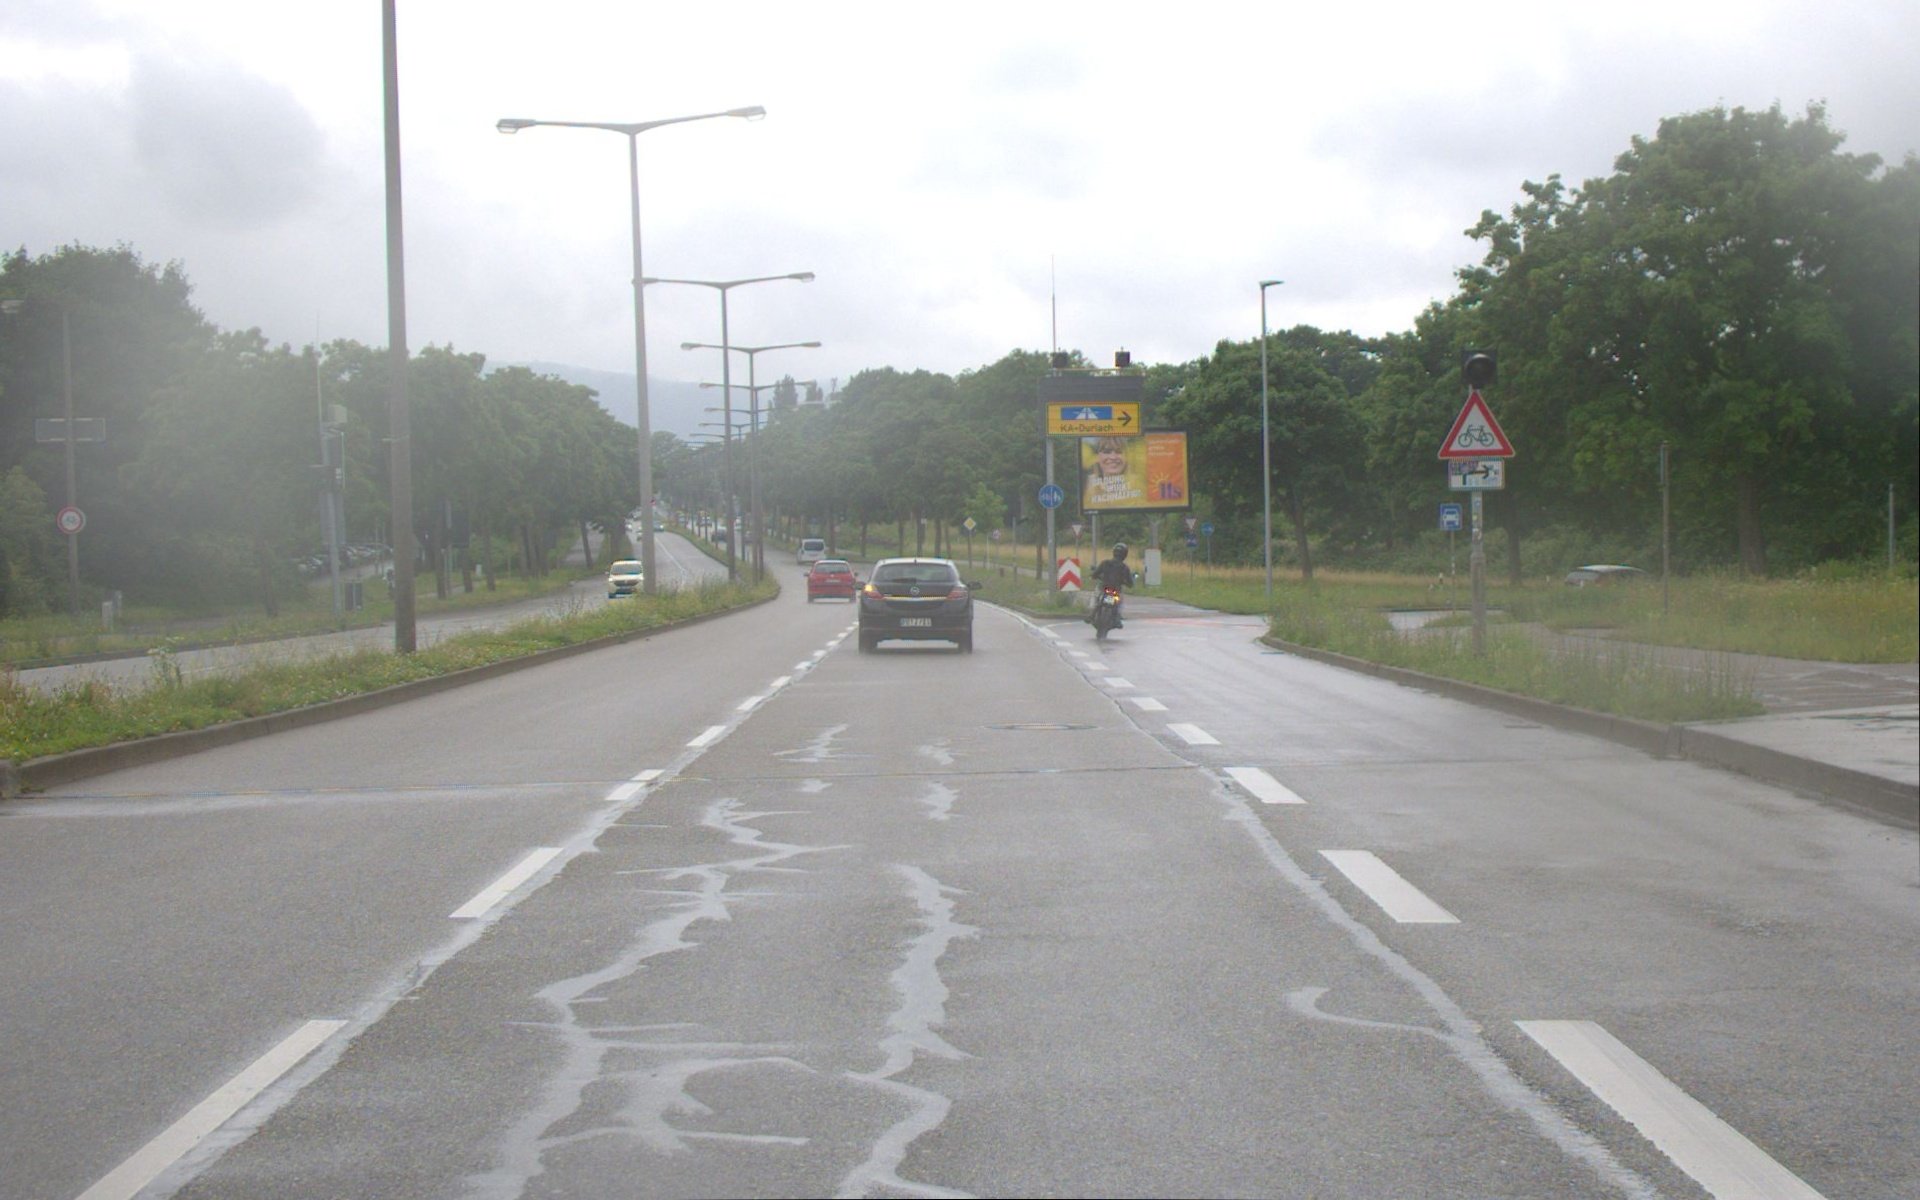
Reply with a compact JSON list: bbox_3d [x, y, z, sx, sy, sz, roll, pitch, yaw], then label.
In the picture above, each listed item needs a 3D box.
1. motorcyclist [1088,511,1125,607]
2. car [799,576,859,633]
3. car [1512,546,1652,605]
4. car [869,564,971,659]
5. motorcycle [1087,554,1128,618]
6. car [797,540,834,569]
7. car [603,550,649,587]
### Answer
[{"bbox_3d":[2.588,-0.723,60.831,0.601,1.684,0.860,0,1,-2],"label":"motorcyclist"},{"bbox_3d":[-4.422,0.137,116.633,1.993,1.873,4.000,0,1,-1],"label":"car"},{"bbox_3d":[17.299,-0.689,95.534,3.989,1.612,1.859,0,1,-45],"label":"car"},{"bbox_3d":[-0.632,0.152,51.706,1.463,1.324,3.758,0,1,-2],"label":"car"},{"bbox_3d":[2.599,-0.254,60.860,0.601,1.089,1.732,0,1,-2],"label":"motorcycle"},{"bbox_3d":[-10.797,-3.373,256.362,2.515,2.045,5.294,-1,1,-5],"label":"car"},{"bbox_3d":[-15.404,-1.459,158.758,1.707,1.624,4.492,-3,1,-2],"label":"car"}]
